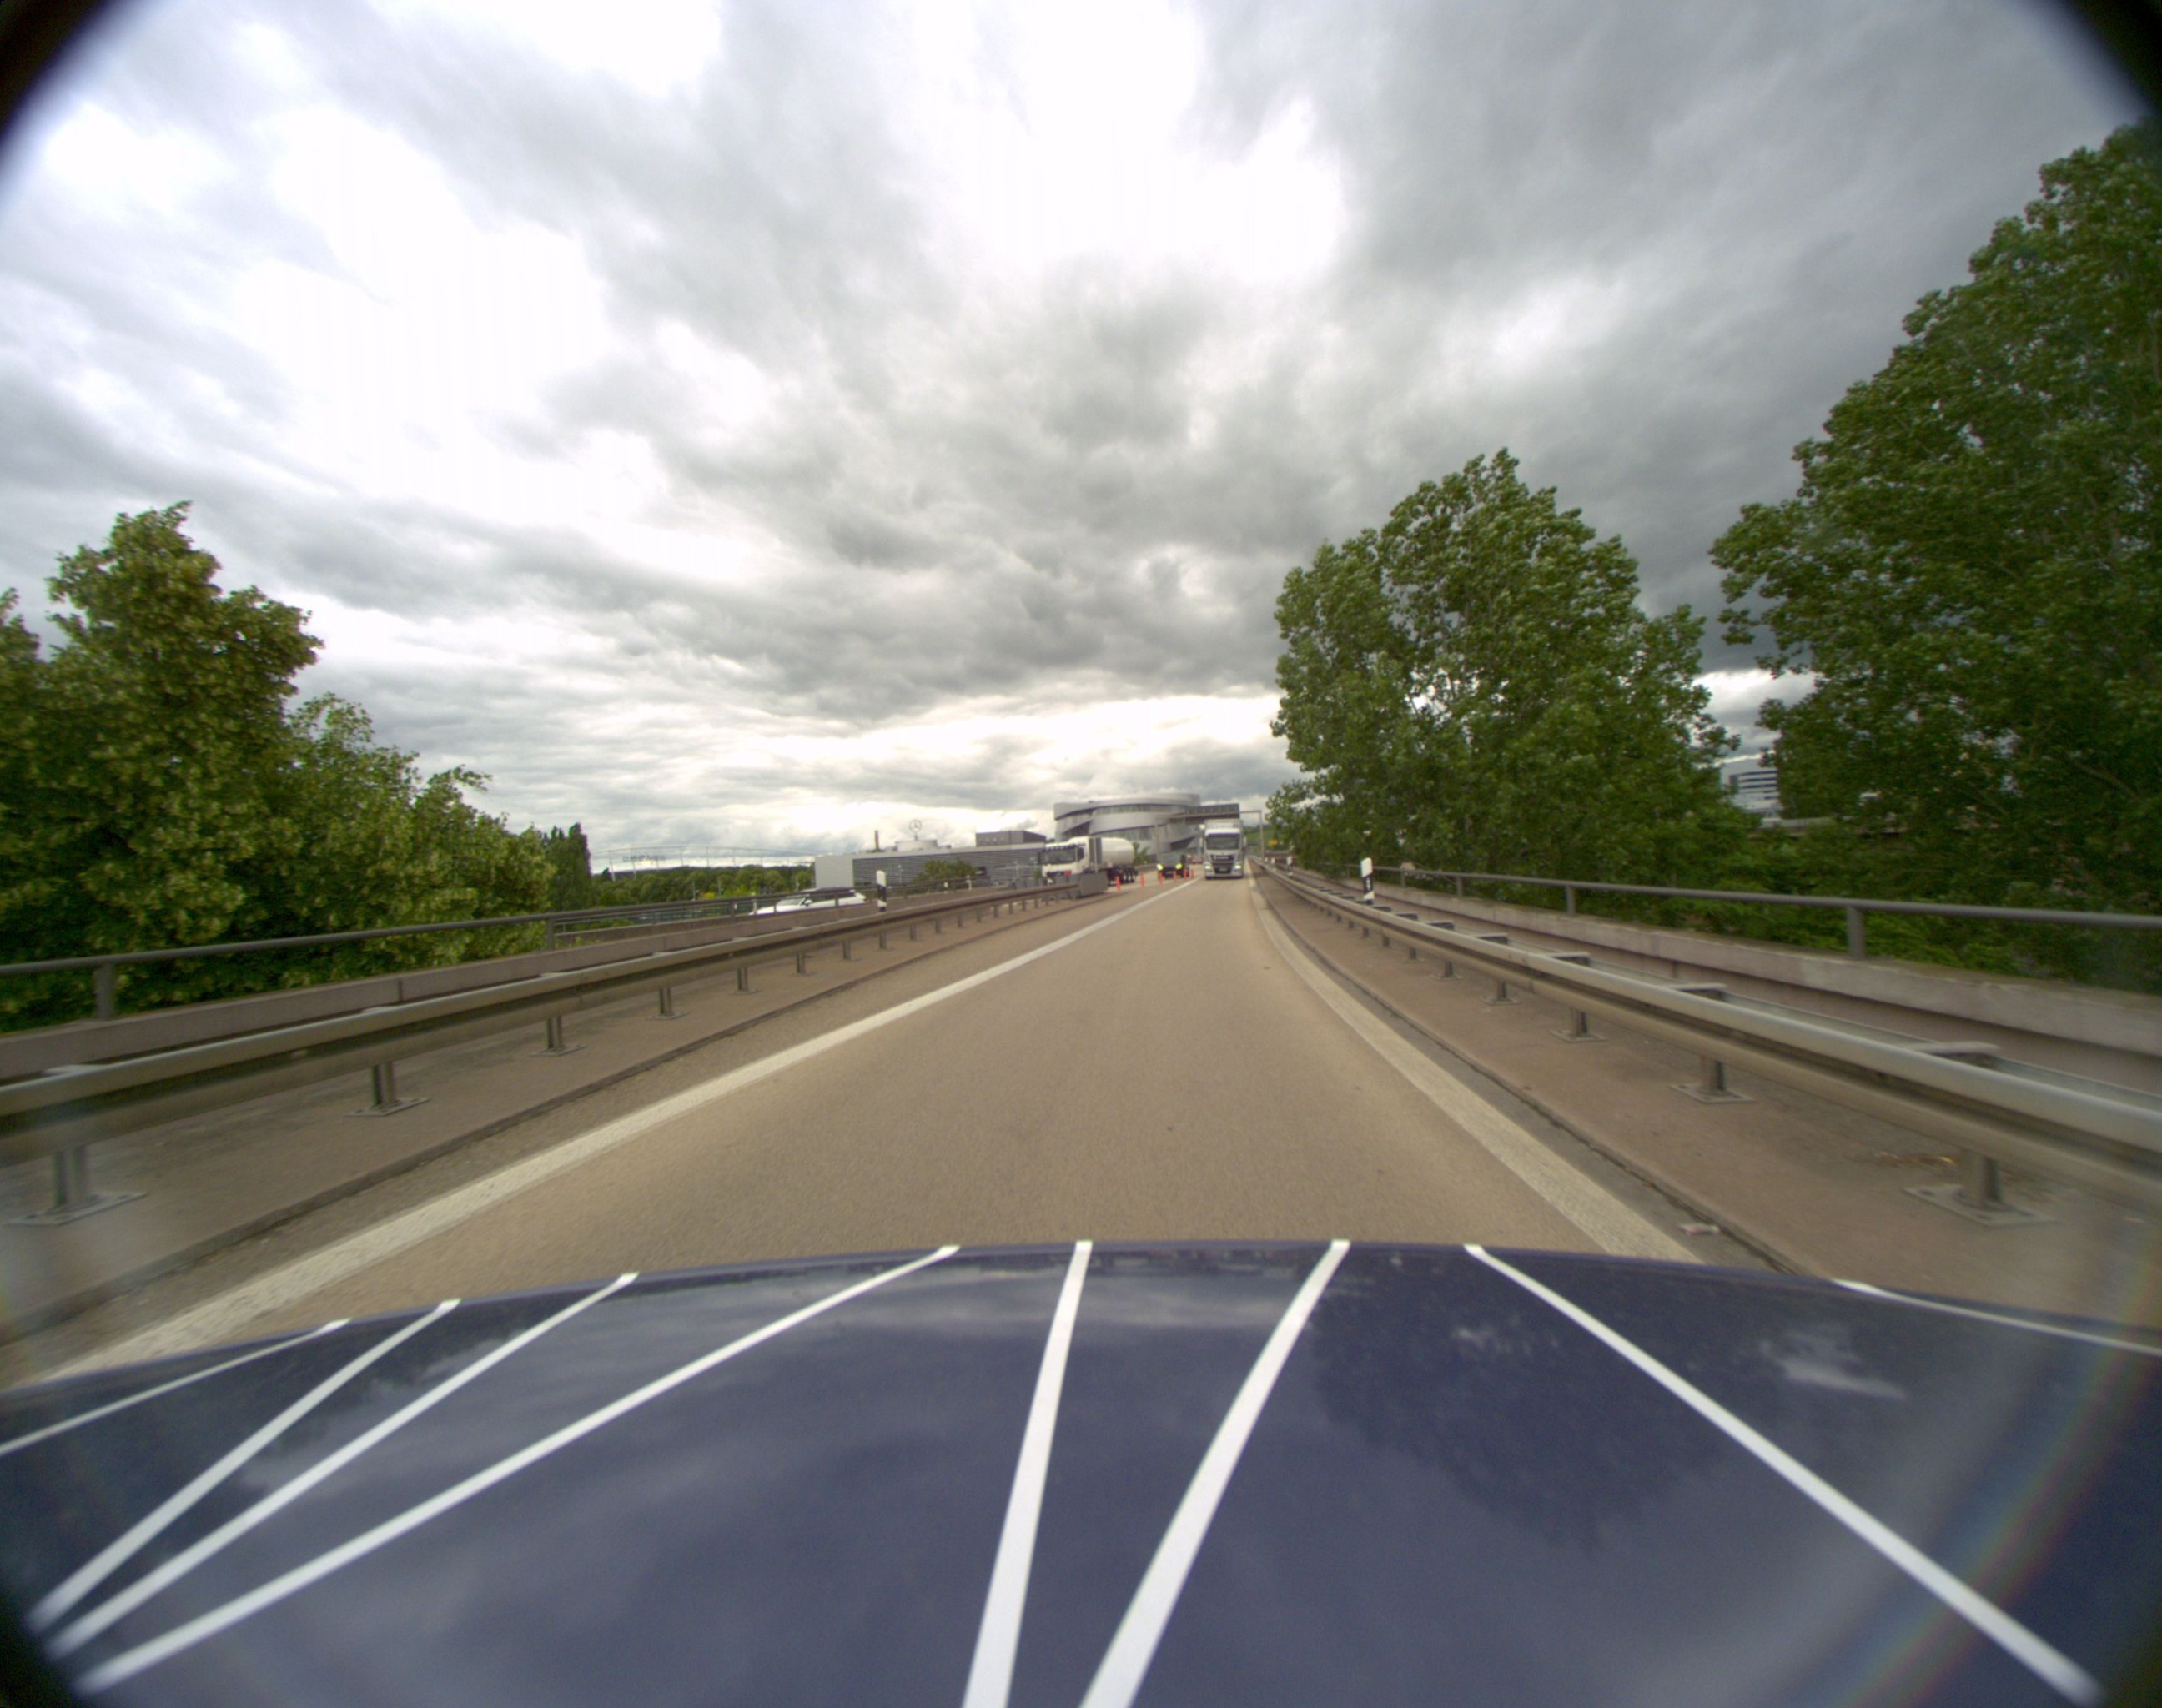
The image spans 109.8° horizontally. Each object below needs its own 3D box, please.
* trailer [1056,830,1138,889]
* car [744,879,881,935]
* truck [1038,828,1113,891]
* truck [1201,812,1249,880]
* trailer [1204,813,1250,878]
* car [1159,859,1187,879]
[{"bbox_3d":[1.385,0.273,52.912,2.744,3.628,11.018,-2,0,17],"label":"trailer"},{"bbox_3d":[-9.029,1.766,25.805,1.786,1.400,3.942,-7,-2,37],"label":"car"},{"bbox_3d":[-0.217,0.280,47.621,2.731,3.625,6.208,-2,0,18],"label":"truck"},{"bbox_3d":[9.801,-0.543,51.305,2.732,4.204,6.206,-2,0,13],"label":"truck"},{"bbox_3d":[11.292,-0.643,57.650,2.744,4.213,13.460,-2,0,13],"label":"trailer"},{"bbox_3d":[7.242,1.131,59.542,1.787,1.401,3.805,-2,0,13],"label":"car"}]
